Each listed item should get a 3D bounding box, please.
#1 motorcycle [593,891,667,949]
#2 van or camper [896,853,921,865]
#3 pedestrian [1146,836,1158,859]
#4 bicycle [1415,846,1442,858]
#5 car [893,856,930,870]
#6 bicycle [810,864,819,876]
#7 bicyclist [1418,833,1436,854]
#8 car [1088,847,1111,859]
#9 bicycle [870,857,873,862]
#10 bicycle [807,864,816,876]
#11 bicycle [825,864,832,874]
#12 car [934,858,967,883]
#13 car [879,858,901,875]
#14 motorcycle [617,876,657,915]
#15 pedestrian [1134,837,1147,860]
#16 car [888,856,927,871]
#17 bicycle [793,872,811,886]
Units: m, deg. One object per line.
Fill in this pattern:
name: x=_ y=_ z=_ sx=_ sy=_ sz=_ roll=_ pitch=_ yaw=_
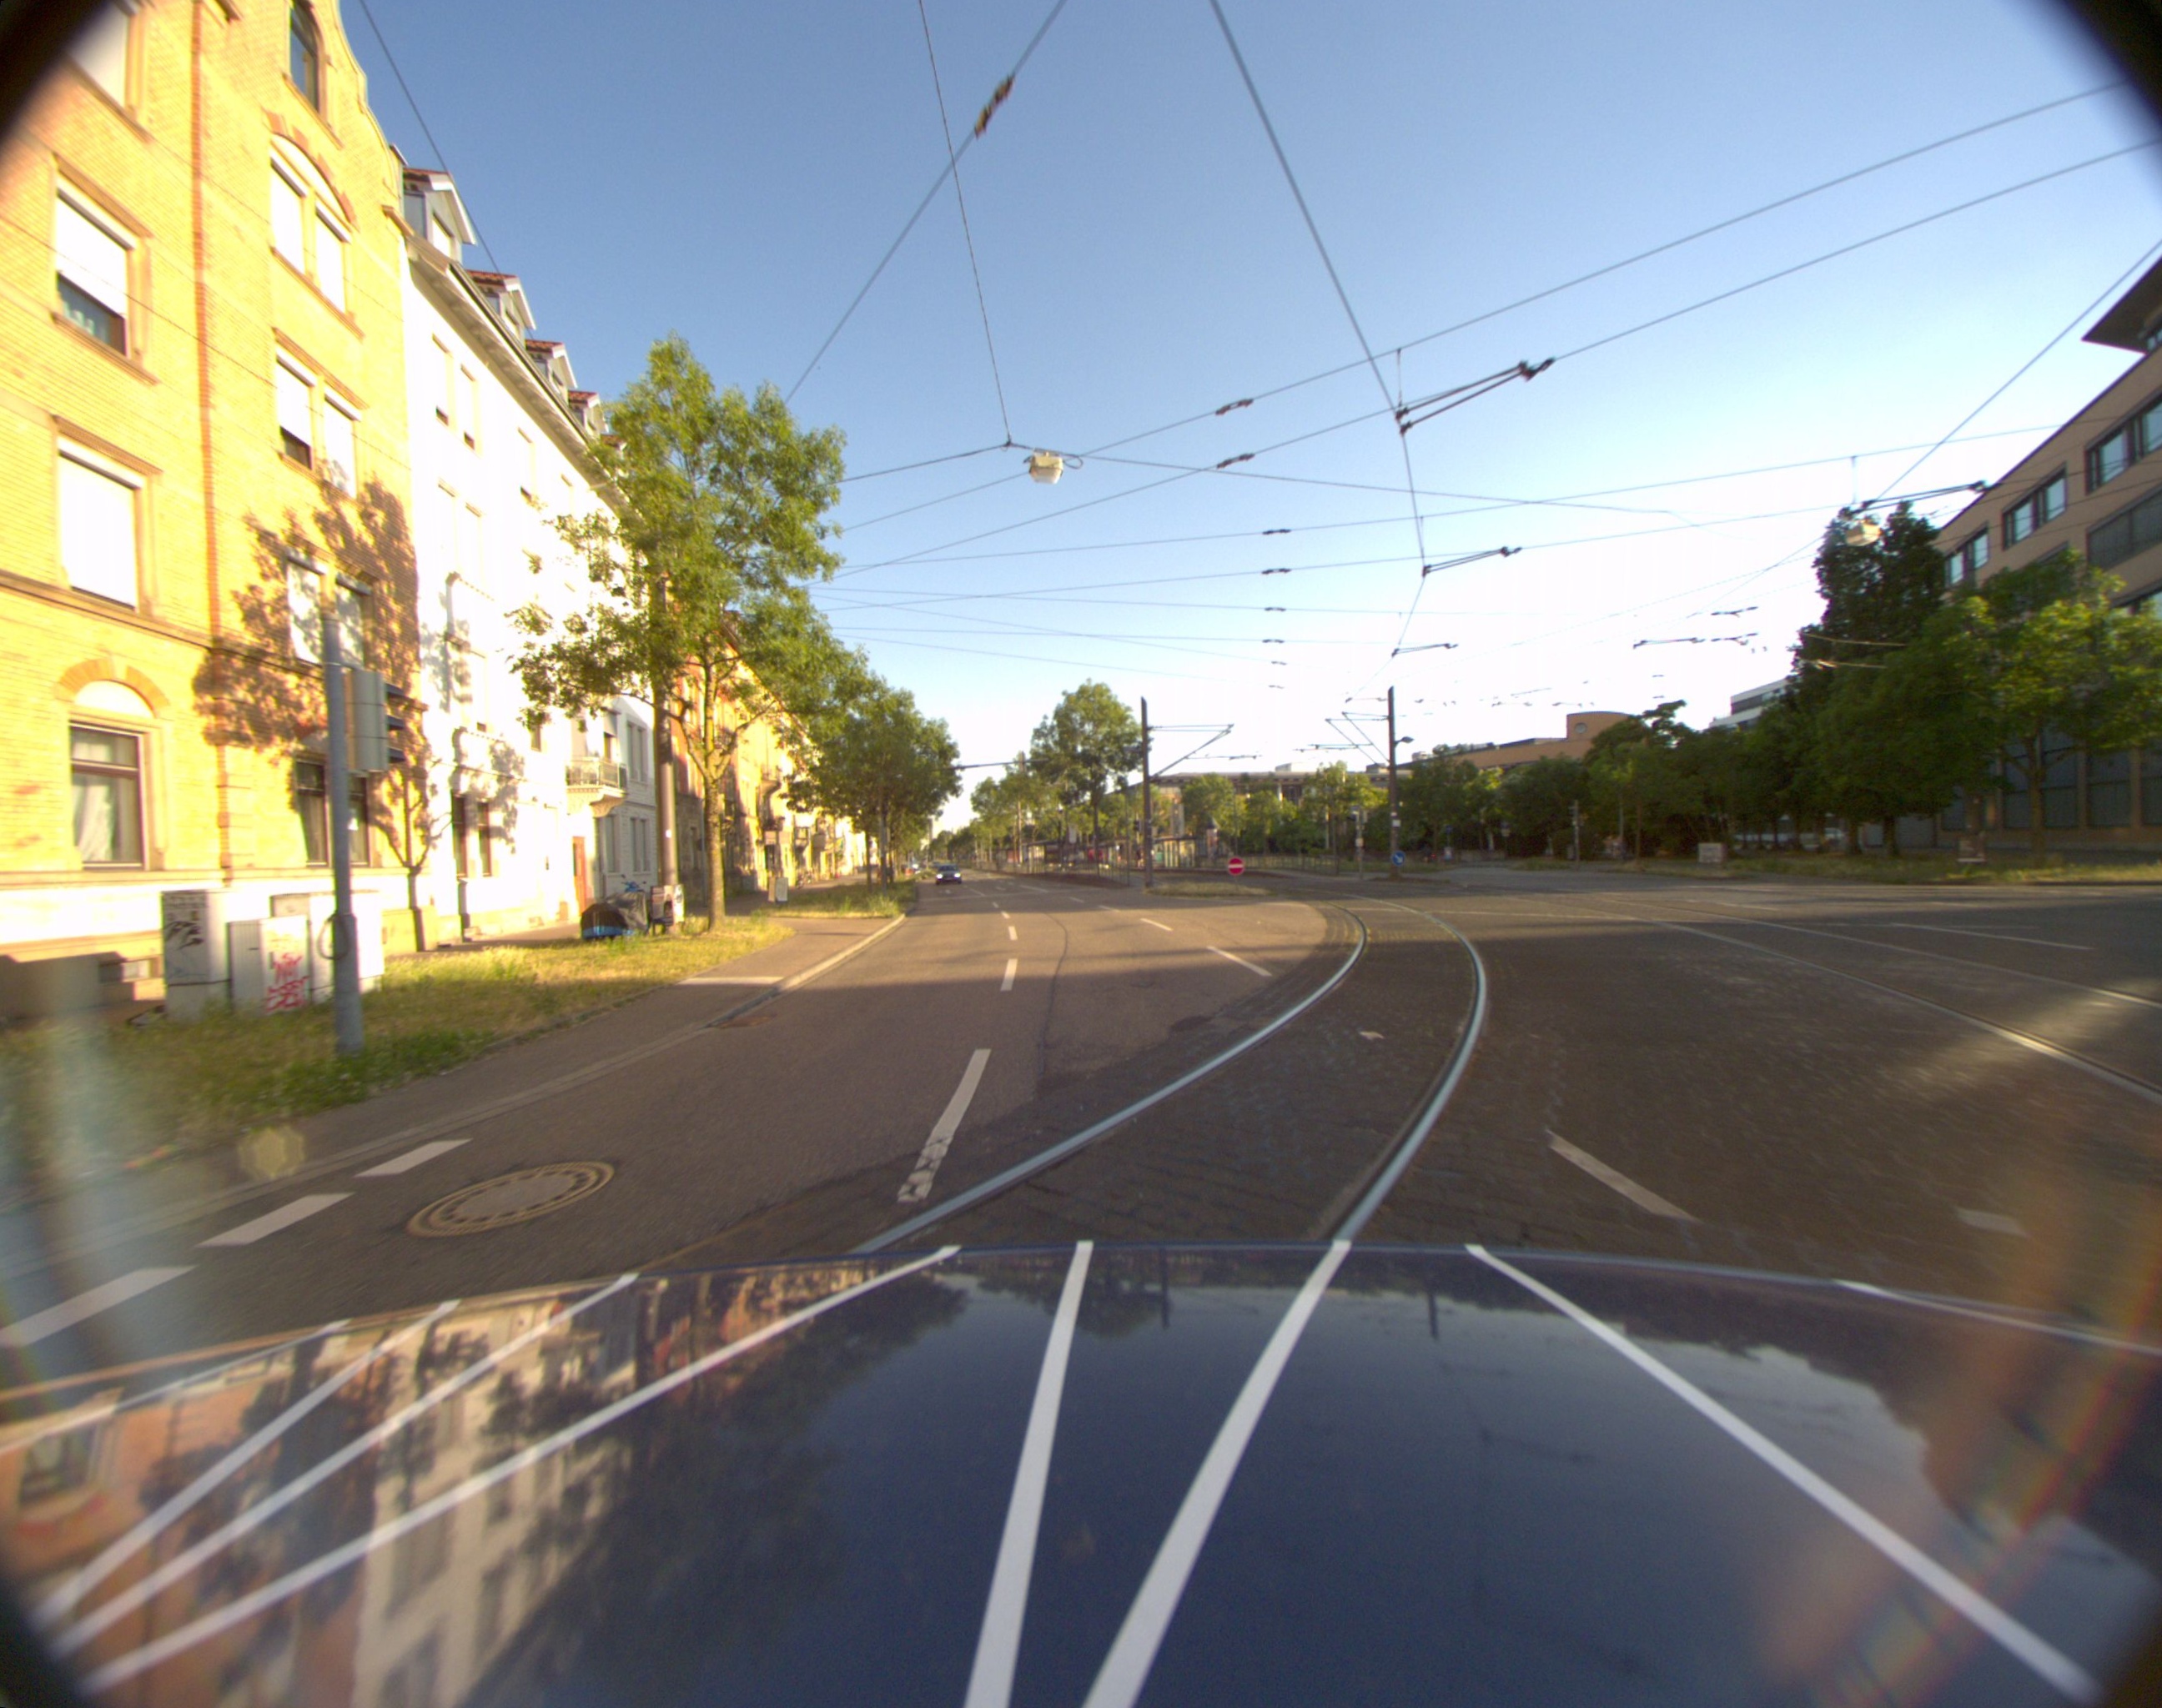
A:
motorcycle: x=-9.472 y=1.351 z=16.024 sx=0.606 sy=1.038 sz=1.743 roll=-2 pitch=1 yaw=-5
van or camper: x=-42.944 y=1.236 z=188.932 sx=5.639 sy=2.796 sz=2.207 roll=-2 pitch=1 yaw=20
pedestrian: x=6.292 y=-0.536 z=67.500 sx=0.772 sy=2.002 sz=1.126 roll=-2 pitch=1 yaw=-10
bicycle: x=24.779 y=-0.119 z=54.287 sx=0.776 sy=0.816 sz=1.964 roll=-2 pitch=1 yaw=-9
car: x=-21.822 y=1.168 z=97.676 sx=4.278 sy=1.513 sz=1.849 roll=-3 pitch=1 yaw=21
bicycle: x=-26.045 y=1.557 z=74.255 sx=0.485 sy=1.158 sz=1.744 roll=3 pitch=0 yaw=-12
bicyclist: x=24.731 y=-0.756 z=54.350 sx=0.770 sy=1.459 sz=0.827 roll=-2 pitch=1 yaw=-9
car: x=2.487 y=-0.180 z=103.800 sx=2.000 sy=1.543 sz=4.889 roll=-3 pitch=1 yaw=-11
bicycle: x=-45.445 y=1.264 z=164.719 sx=0.581 sy=0.985 sz=1.926 roll=-2 pitch=1 yaw=-12
bicycle: x=-25.662 y=1.515 z=72.392 sx=0.485 sy=1.158 sz=1.744 roll=3 pitch=0 yaw=-12
bicycle: x=-28.710 y=1.745 z=86.476 sx=0.574 sy=1.067 sz=1.894 roll=-2 pitch=1 yaw=-12
car: x=-9.601 y=1.166 z=56.182 sx=1.999 sy=1.655 sz=3.998 roll=-2 pitch=1 yaw=-5
car: x=-18.294 y=1.186 z=72.924 sx=1.709 sy=1.440 sz=4.284 roll=-5 pitch=1 yaw=-11
motorcycle: x=-15.597 y=1.443 z=26.735 sx=0.555 sy=1.207 sz=2.070 roll=-4 pitch=1 yaw=-13
pedestrian: x=5.314 y=-0.463 z=68.036 sx=0.772 sy=2.002 sz=1.126 roll=-2 pitch=1 yaw=-10
car: x=-21.679 y=1.159 z=95.012 sx=4.332 sy=1.562 sz=2.004 roll=-4 pitch=0 yaw=21
bicycle: x=-20.393 y=1.819 z=55.549 sx=0.875 sy=0.910 sz=2.082 roll=-1 pitch=1 yaw=-10
